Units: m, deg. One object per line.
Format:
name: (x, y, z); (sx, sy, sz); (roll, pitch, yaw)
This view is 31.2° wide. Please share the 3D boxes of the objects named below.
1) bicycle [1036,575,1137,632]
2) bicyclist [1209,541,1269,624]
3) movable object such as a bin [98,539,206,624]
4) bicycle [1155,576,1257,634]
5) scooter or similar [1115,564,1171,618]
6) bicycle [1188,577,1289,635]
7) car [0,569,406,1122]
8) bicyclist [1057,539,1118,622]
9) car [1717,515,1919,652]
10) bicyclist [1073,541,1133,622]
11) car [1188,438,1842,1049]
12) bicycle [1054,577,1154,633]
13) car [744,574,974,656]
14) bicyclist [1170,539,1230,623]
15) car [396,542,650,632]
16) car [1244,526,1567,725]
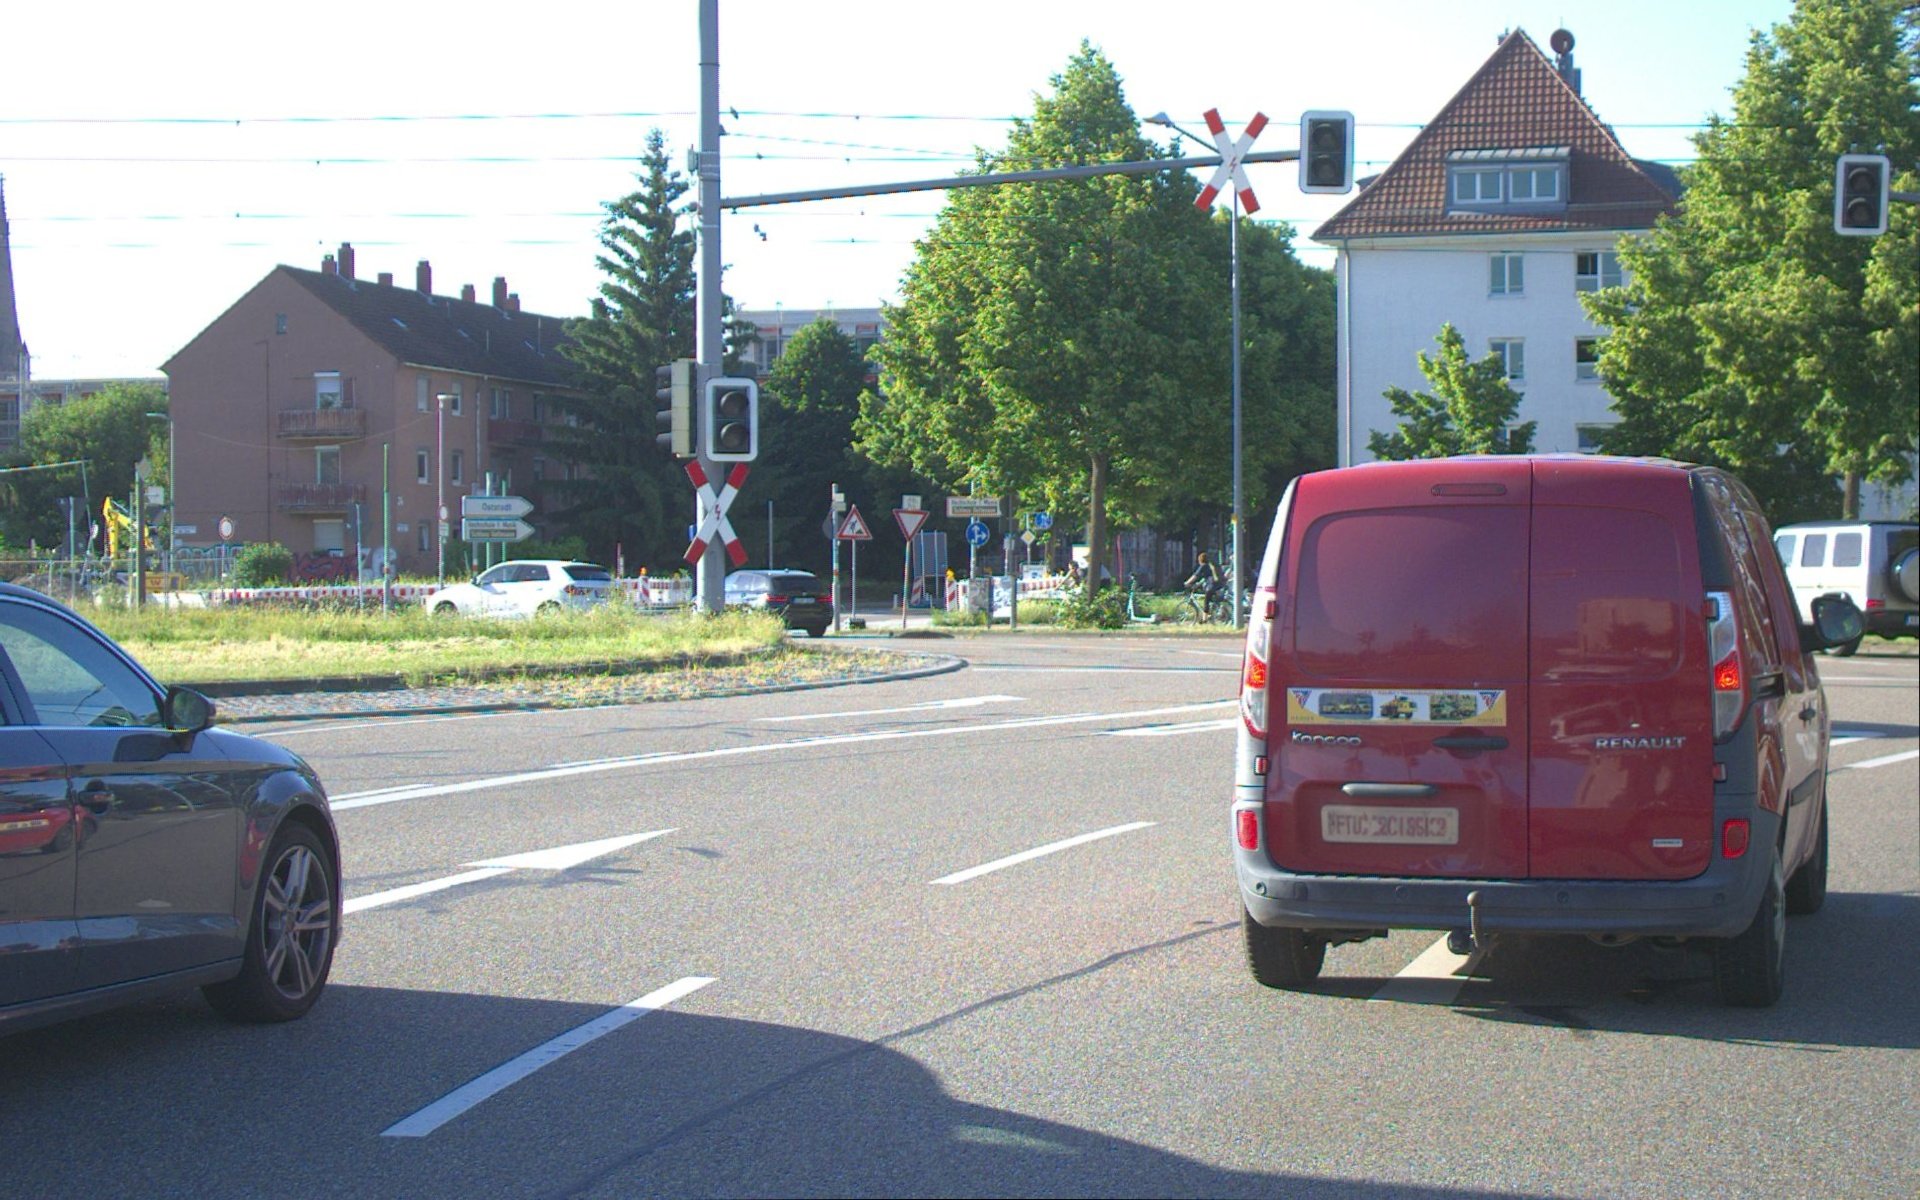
bicycle: (2.878, 0.083, 78.403); (2.207, 1.261, 0.882); (0, -1, 41)
bicyclist: (6.270, -0.390, 77.185); (1.025, 1.846, 0.810); (0, -1, 43)
movable object such as a bin: (-27.386, -0.606, 116.424); (2.419, 2.764, 4.000); (2, -1, -30)
bicycle: (5.446, 0.106, 76.294); (2.208, 1.261, 0.816); (0, -1, 43)
scooter or similar: (4.252, -0.201, 79.934); (1.263, 1.244, 0.443); (-1, -2, 36)
bicycle: (6.254, 0.136, 77.182); (2.208, 1.261, 0.816); (0, -1, 43)
car: (-3.131, 0.601, 9.251); (1.761, 1.375, 4.356); (0, 0, 12)
bicyclist: (2.915, -0.442, 78.376); (1.025, 1.846, 0.882); (0, -1, 42)
car: (13.068, -0.224, 50.248); (1.996, 1.891, 4.754); (0, 0, -14)
bicyclist: (3.308, -0.418, 79.440); (1.025, 1.846, 0.882); (0, -1, 42)
car: (2.143, 0.380, 12.369); (1.804, 1.807, 3.806); (2, 2, 17)
bicycle: (3.315, 0.107, 79.388); (2.207, 1.261, 0.882); (0, -1, 41)
car: (-2.038, 0.269, 68.550); (4.404, 1.534, 1.995); (1, 1, 41)
bicyclist: (5.340, -0.420, 76.420); (1.025, 1.846, 0.810); (0, -1, 43)
car: (-8.158, -0.268, 64.107); (4.401, 1.633, 1.997); (1, 1, 31)
car: (3.673, 0.199, 27.816); (1.804, 1.456, 3.805); (1, 0, 19)
